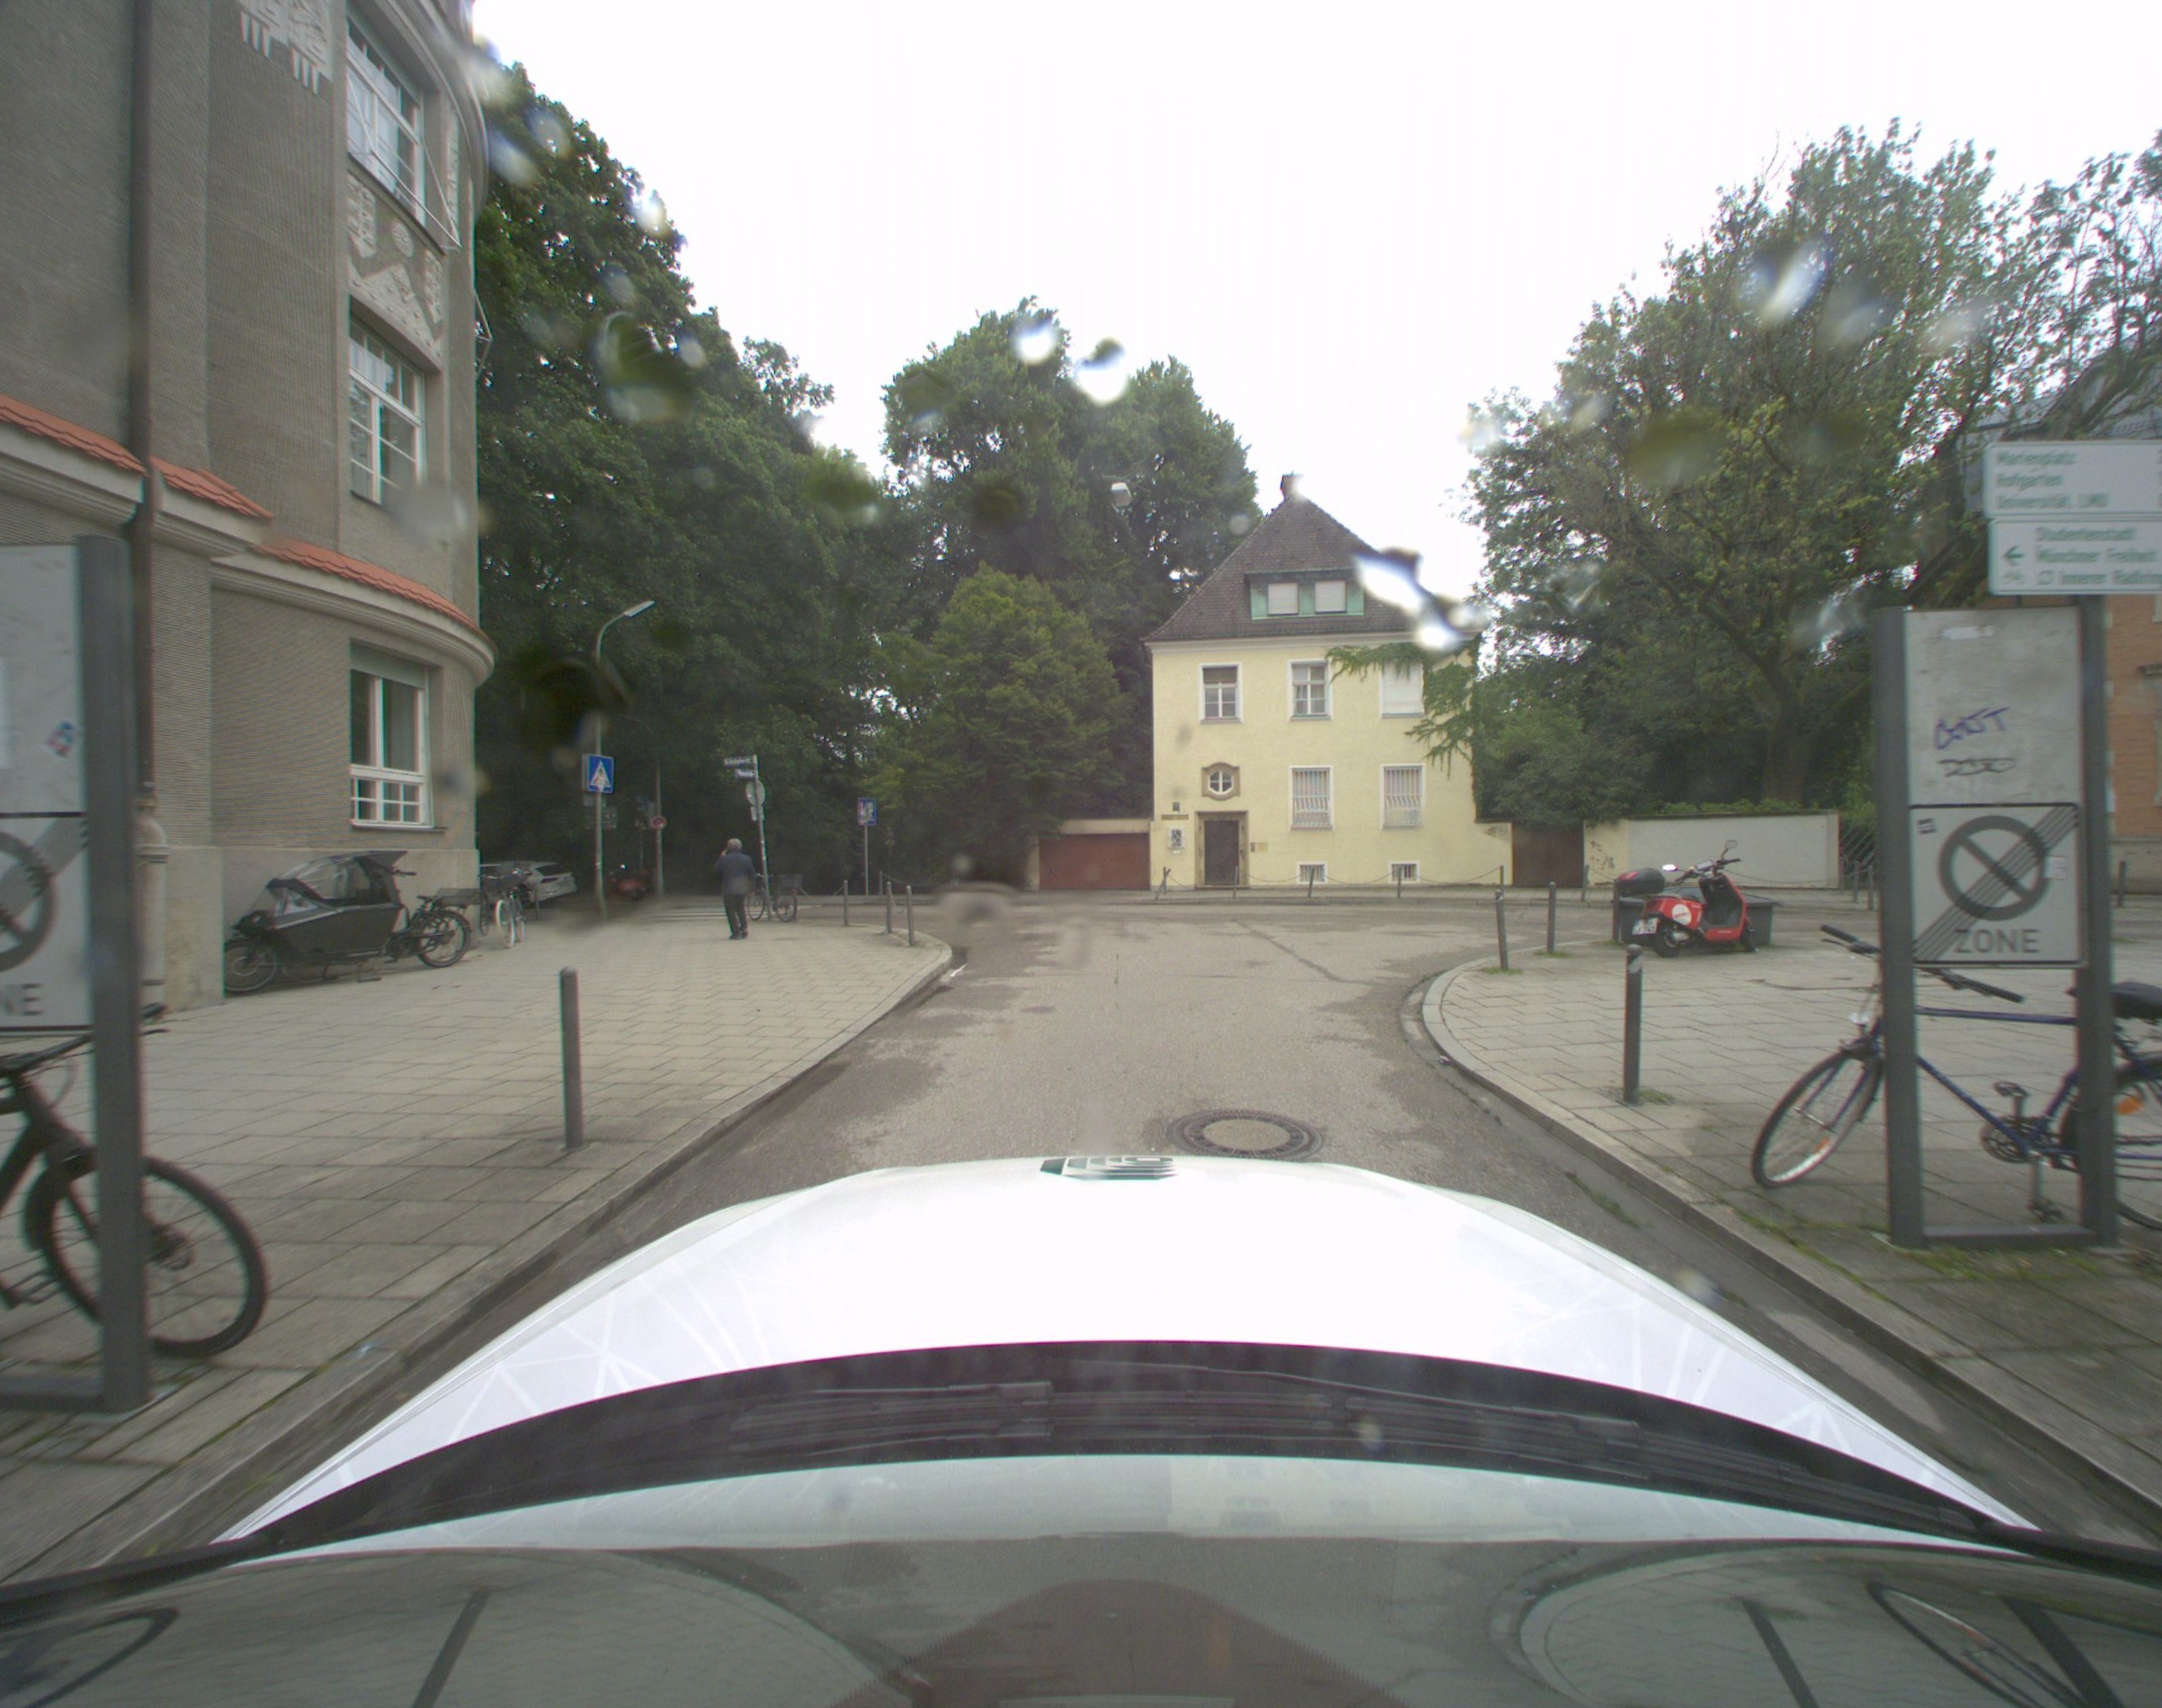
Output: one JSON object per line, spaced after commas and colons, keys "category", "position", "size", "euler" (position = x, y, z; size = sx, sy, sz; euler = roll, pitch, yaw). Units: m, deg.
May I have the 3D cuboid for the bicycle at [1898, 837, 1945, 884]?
{"category": "bicycle", "position": [23.075, 0.173, 22.388], "size": [0.529, 1.219, 2.096], "euler": [0, 0, 36]}

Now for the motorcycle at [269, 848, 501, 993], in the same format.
{"category": "motorcycle", "position": [-7.660, 0.656, 9.147], "size": [0.733, 1.441, 2.147], "euler": [0, 0, 1]}

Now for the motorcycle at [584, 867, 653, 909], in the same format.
{"category": "motorcycle", "position": [-14.435, 1.040, 25.412], "size": [1.981, 1.183, 0.865], "euler": [0, 3, 26]}

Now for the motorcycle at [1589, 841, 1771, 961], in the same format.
{"category": "motorcycle", "position": [7.326, 0.525, 9.960], "size": [2.085, 1.356, 0.811], "euler": [0, 0, -21]}

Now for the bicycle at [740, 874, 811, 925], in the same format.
{"category": "bicycle", "position": [-6.677, 0.964, 17.759], "size": [1.982, 1.010, 0.515], "euler": [0, 0, 39]}

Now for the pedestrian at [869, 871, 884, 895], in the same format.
{"category": "pedestrian", "position": [-10.126, 1.423, 40.377], "size": [0.582, 1.168, 0.498], "euler": [0, 0, 7]}

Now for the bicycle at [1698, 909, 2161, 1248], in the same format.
{"category": "bicycle", "position": [3.604, 0.801, 3.209], "size": [1.774, 1.085, 0.670], "euler": [-2, 1, 29]}

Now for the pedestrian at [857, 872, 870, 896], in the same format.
{"category": "pedestrian", "position": [-10.772, 1.494, 40.271], "size": [0.468, 1.156, 0.498], "euler": [0, 0, 7]}

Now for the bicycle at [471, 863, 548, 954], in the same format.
{"category": "bicycle", "position": [-8.716, 0.782, 12.483], "size": [0.740, 1.256, 1.908], "euler": [0, 0, -28]}

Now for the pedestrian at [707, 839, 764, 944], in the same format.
{"category": "pedestrian", "position": [-5.652, 0.590, 13.318], "size": [0.815, 1.641, 0.720], "euler": [0, 0, -26]}

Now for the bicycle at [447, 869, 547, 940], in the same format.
{"category": "bicycle", "position": [-10.068, 0.848, 14.032], "size": [1.902, 1.157, 0.568], "euler": [0, -3, 29]}

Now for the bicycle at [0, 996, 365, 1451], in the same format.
{"category": "bicycle", "position": [-3.156, 0.956, 2.286], "size": [1.796, 1.015, 0.540], "euler": [1, 0, 0]}

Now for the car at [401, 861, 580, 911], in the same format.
{"category": "car", "position": [-18.782, 0.995, 26.064], "size": [4.411, 1.448, 1.623], "euler": [-1, 0, -3]}
